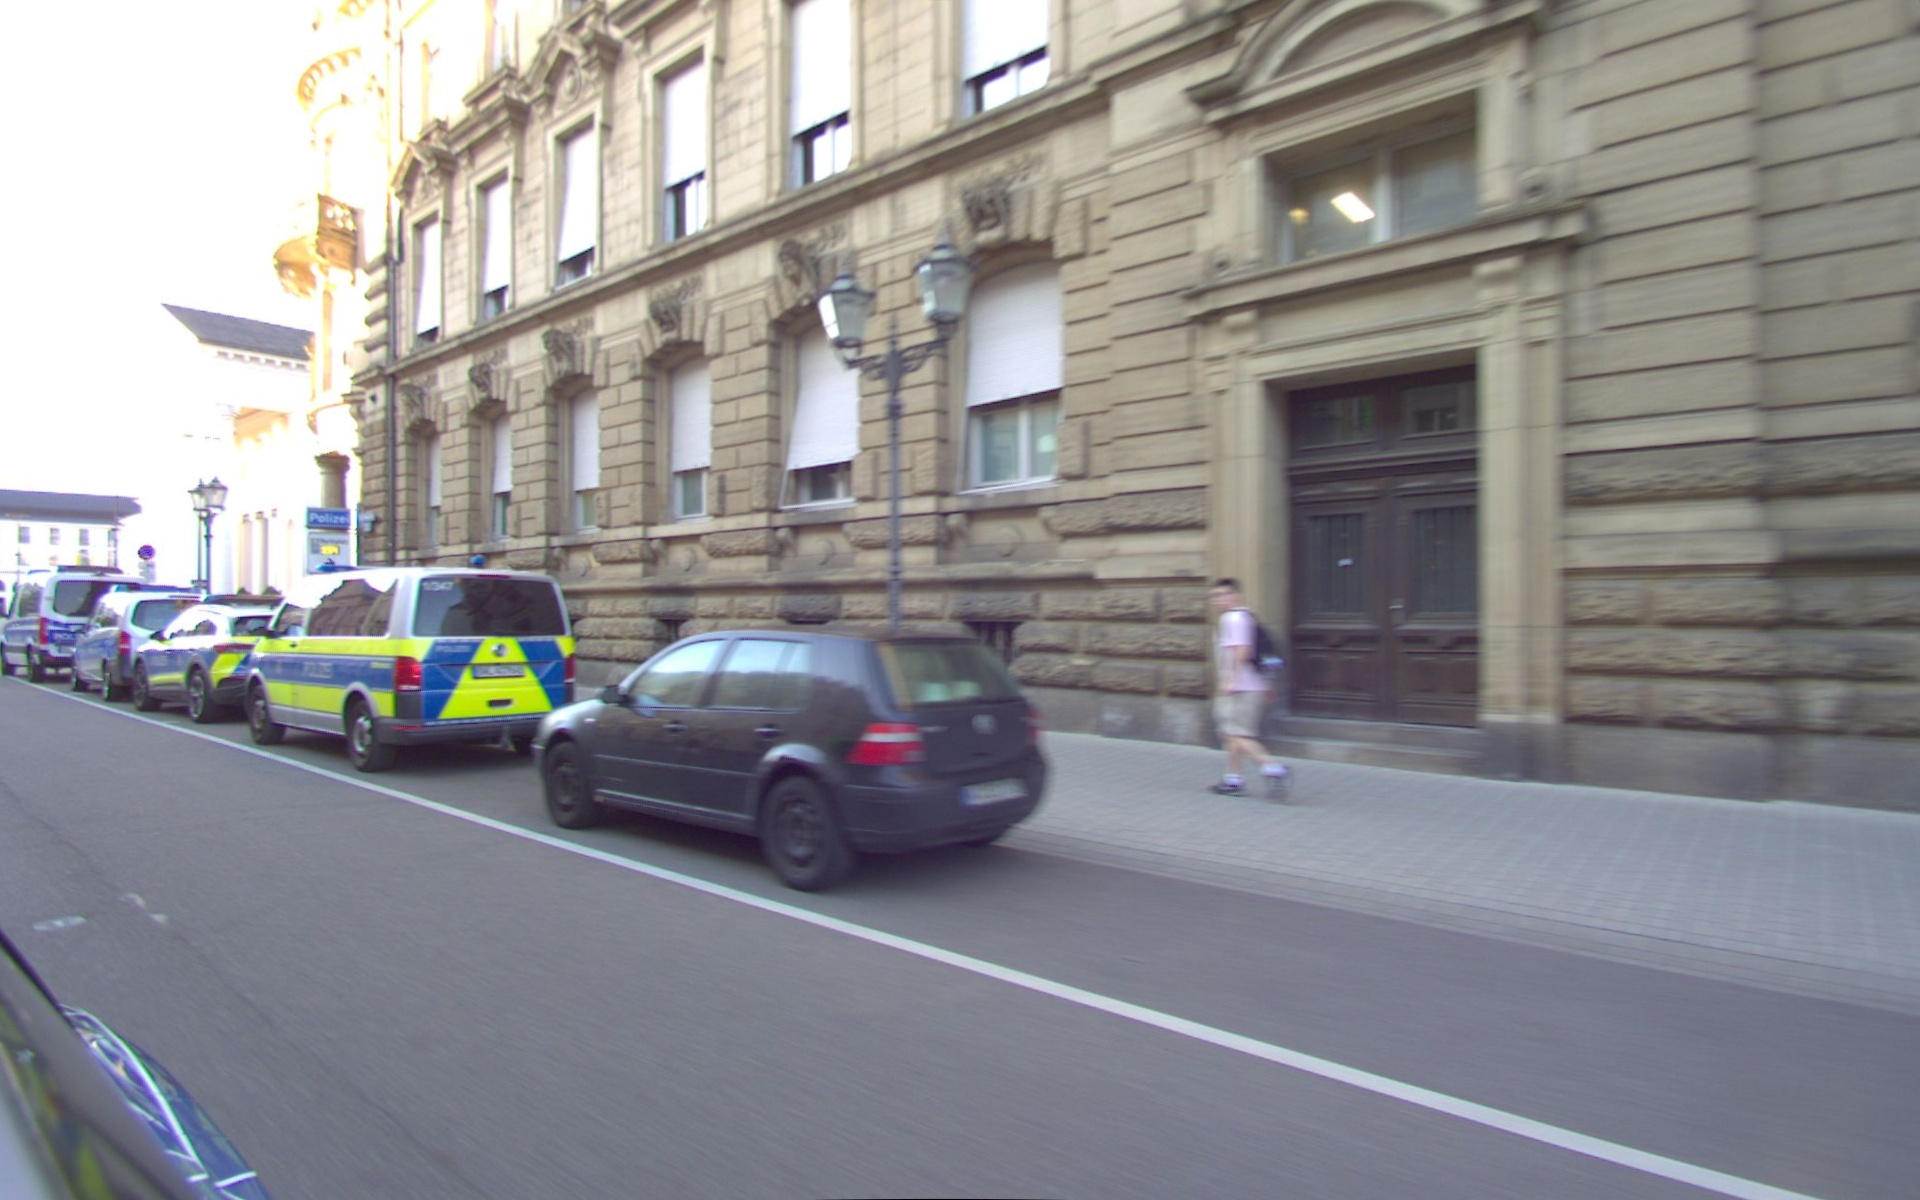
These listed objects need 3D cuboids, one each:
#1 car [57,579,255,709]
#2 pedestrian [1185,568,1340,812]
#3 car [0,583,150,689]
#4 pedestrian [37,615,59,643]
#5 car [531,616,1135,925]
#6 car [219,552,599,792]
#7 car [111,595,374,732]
[{"bbox_3d":[-15.129,0.749,18.927,5.204,2.103,1.973,0,-1,41],"label":"car"},{"bbox_3d":[2.346,0.646,7.842,0.896,1.743,0.706,-1,1,42],"label":"pedestrian"},{"bbox_3d":[-20.603,0.785,23.273,5.200,2.188,1.974,-1,-1,38],"label":"car"},{"bbox_3d":[-64.660,2.037,71.759,0.881,1.926,1.077,-1,-1,44],"label":"pedestrian"},{"bbox_3d":[-1.076,0.882,7.132,4.162,1.506,1.973,0,-1,41],"label":"car"},{"bbox_3d":[-6.249,0.650,11.202,4.985,2.093,1.973,0,-1,40],"label":"car"},{"bbox_3d":[-11.027,0.851,15.415,4.984,1.765,1.974,0,-1,39],"label":"car"}]
